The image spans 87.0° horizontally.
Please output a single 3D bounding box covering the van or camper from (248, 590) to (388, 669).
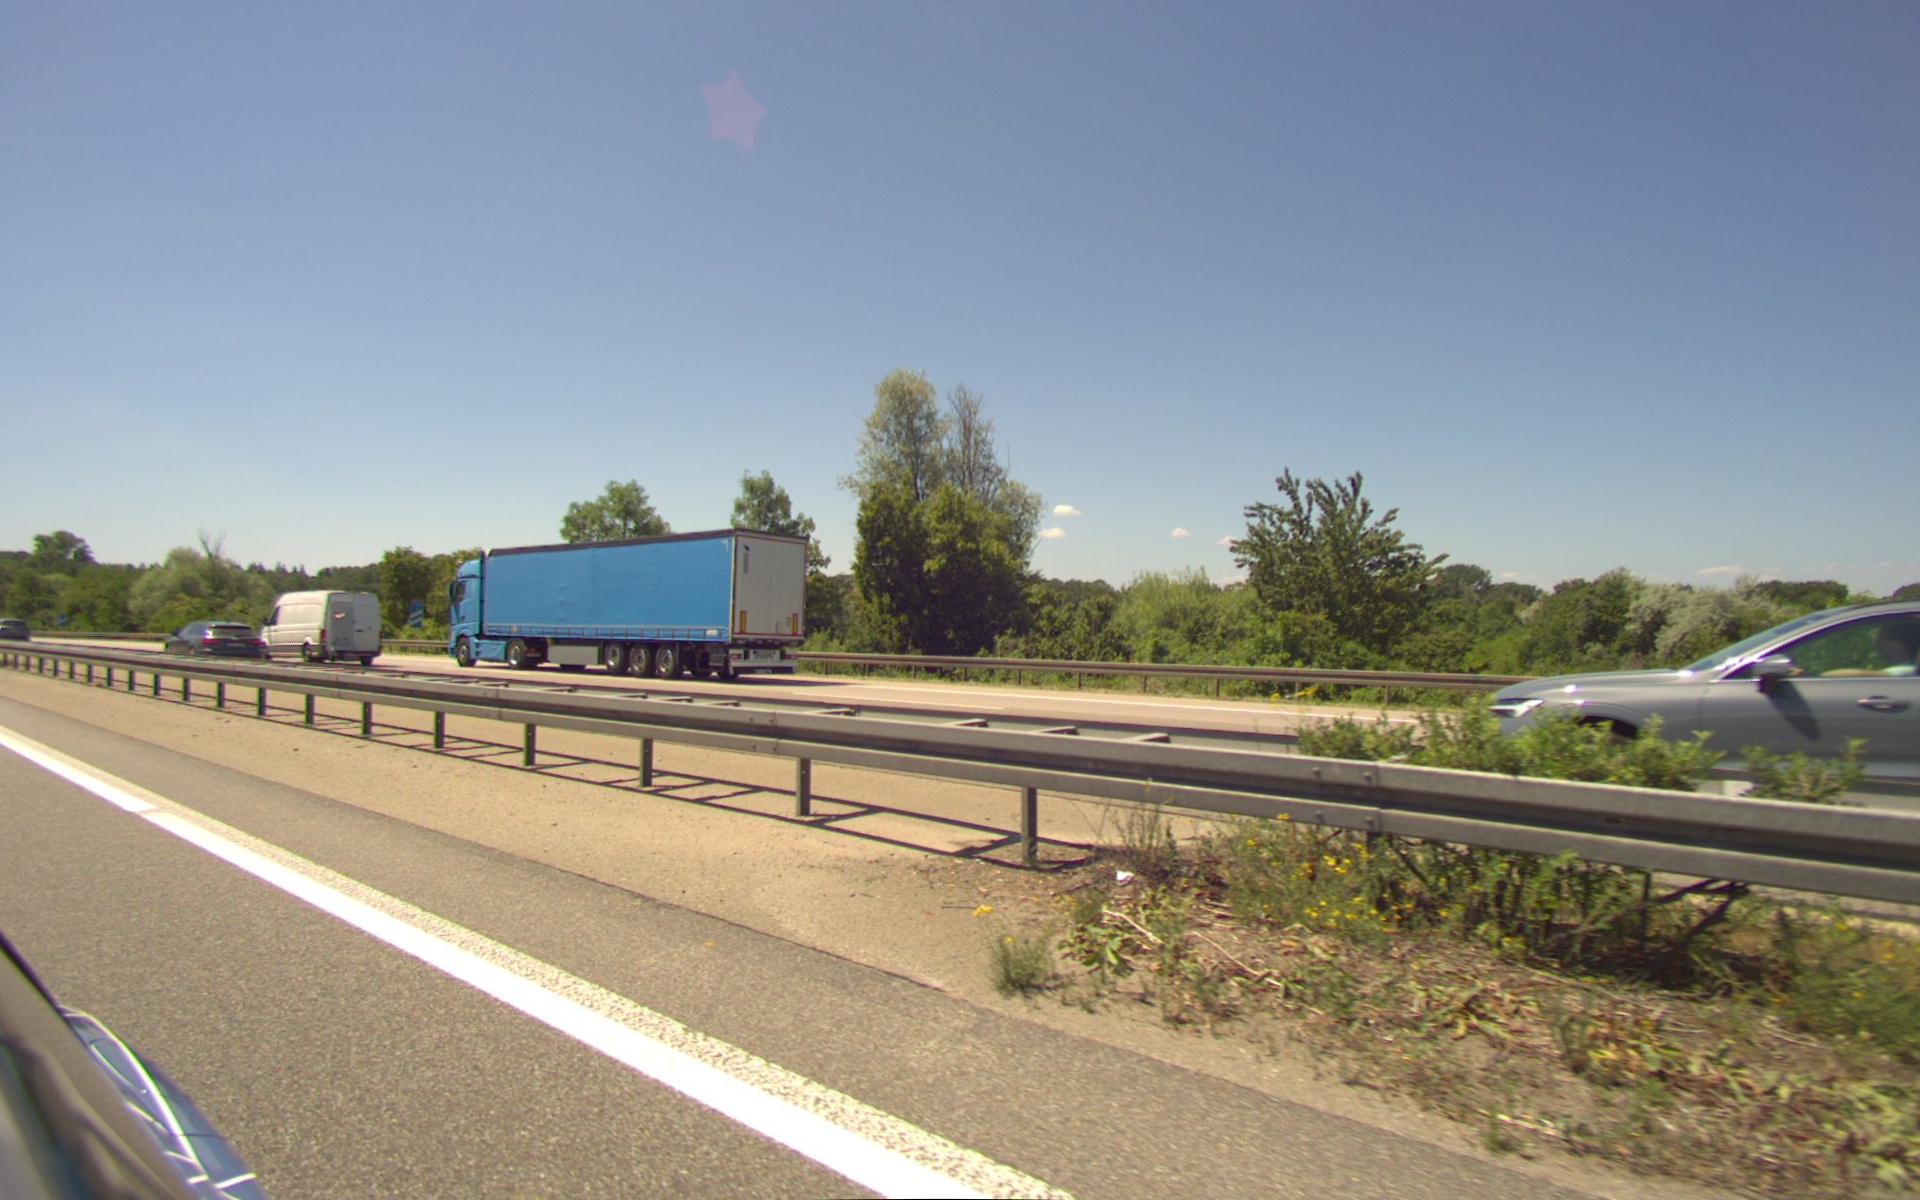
[{"bbox_3d":[-23.020,1.078,36.125,7.027,2.585,1.974,-1,-4,39],"label":"van or camper"}]

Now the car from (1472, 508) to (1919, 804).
[{"bbox_3d":[6.390,0.348,6.643,5.103,1.744,1.973,-1,-2,40],"label":"car"}]

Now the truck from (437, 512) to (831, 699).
[{"bbox_3d":[-11.162,0.333,32.276,16.842,4.756,3.194,-1,-4,39],"label":"truck"}]

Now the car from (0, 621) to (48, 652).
[{"bbox_3d":[-54.534,2.108,58.548,4.404,1.703,1.973,-1,-3,40],"label":"car"}]
